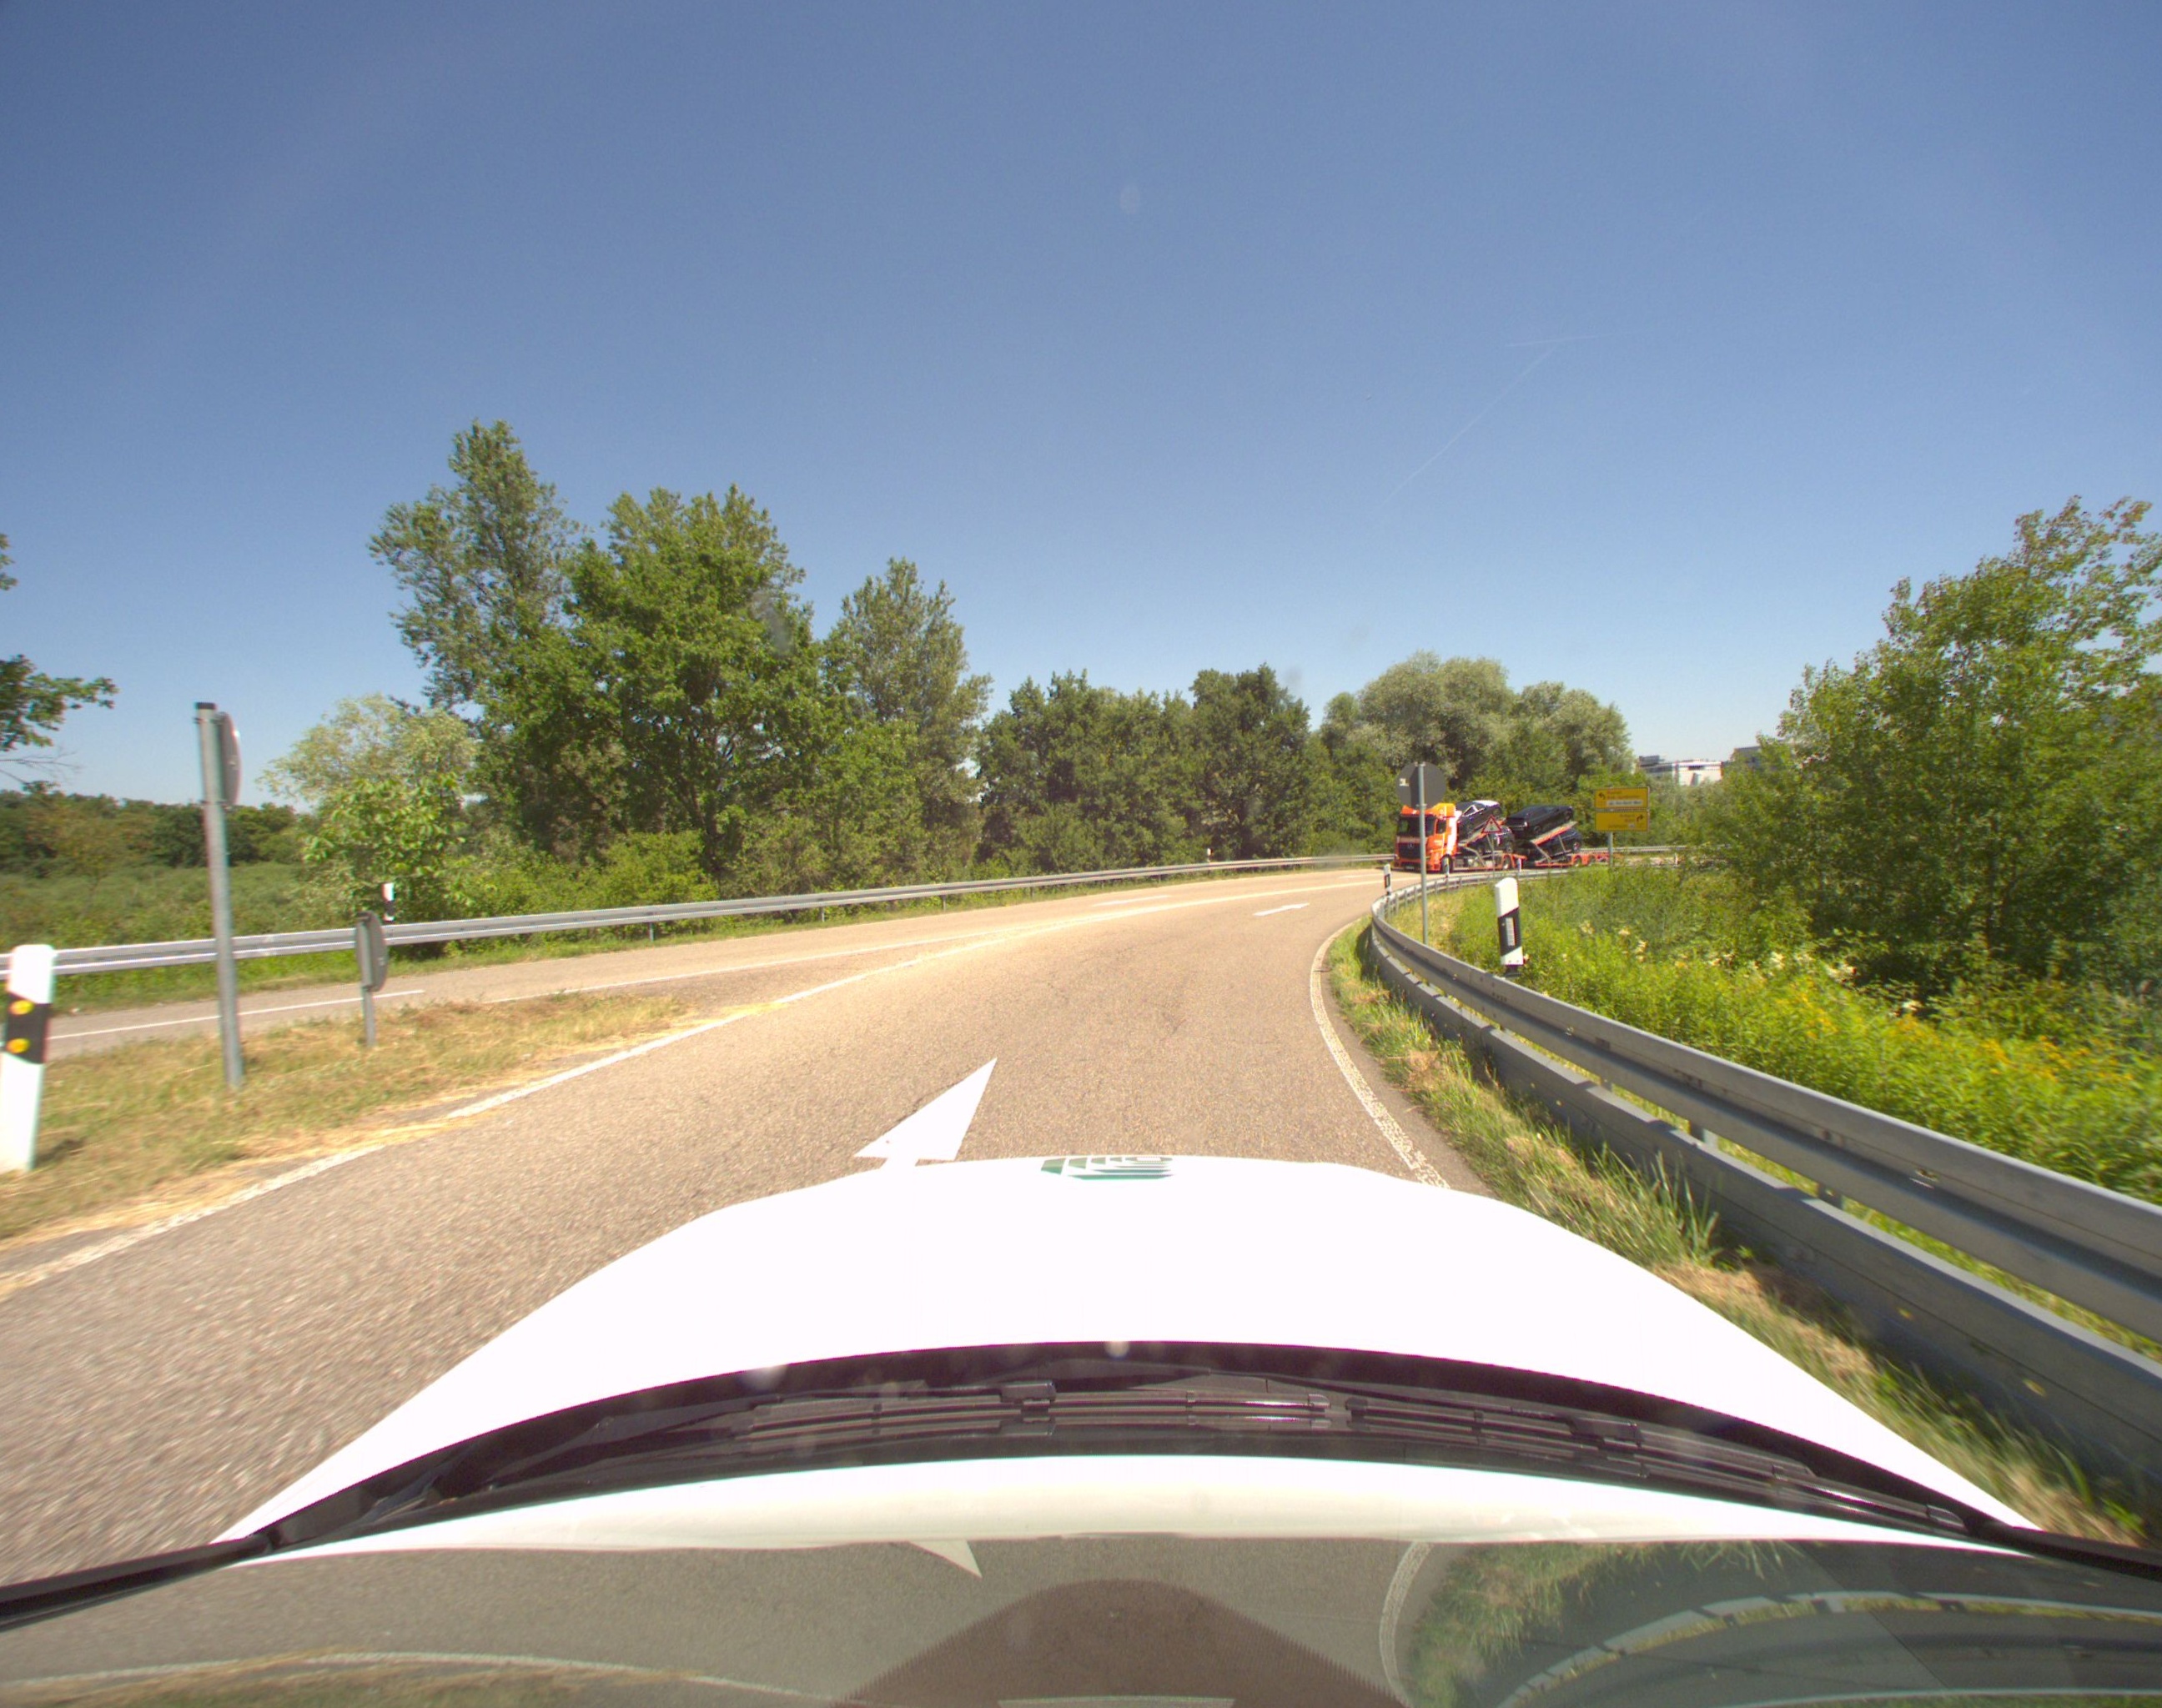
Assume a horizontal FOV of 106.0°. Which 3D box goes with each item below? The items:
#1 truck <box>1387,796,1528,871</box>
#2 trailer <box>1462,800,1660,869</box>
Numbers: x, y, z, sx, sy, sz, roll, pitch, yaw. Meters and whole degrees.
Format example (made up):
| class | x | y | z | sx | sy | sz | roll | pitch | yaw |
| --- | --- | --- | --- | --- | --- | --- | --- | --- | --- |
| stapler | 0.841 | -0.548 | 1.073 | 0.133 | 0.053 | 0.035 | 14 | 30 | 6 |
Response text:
| class | x | y | z | sx | sy | sz | roll | pitch | yaw |
| --- | --- | --- | --- | --- | --- | --- | --- | --- | --- |
| truck | 21.267 | -1.105 | 45.761 | 8.810 | 3.897 | 2.771 | 0 | 2 | -32 |
| trailer | 29.693 | -1.112 | 50.027 | 14.003 | 3.897 | 2.781 | 0 | 2 | -24 |
